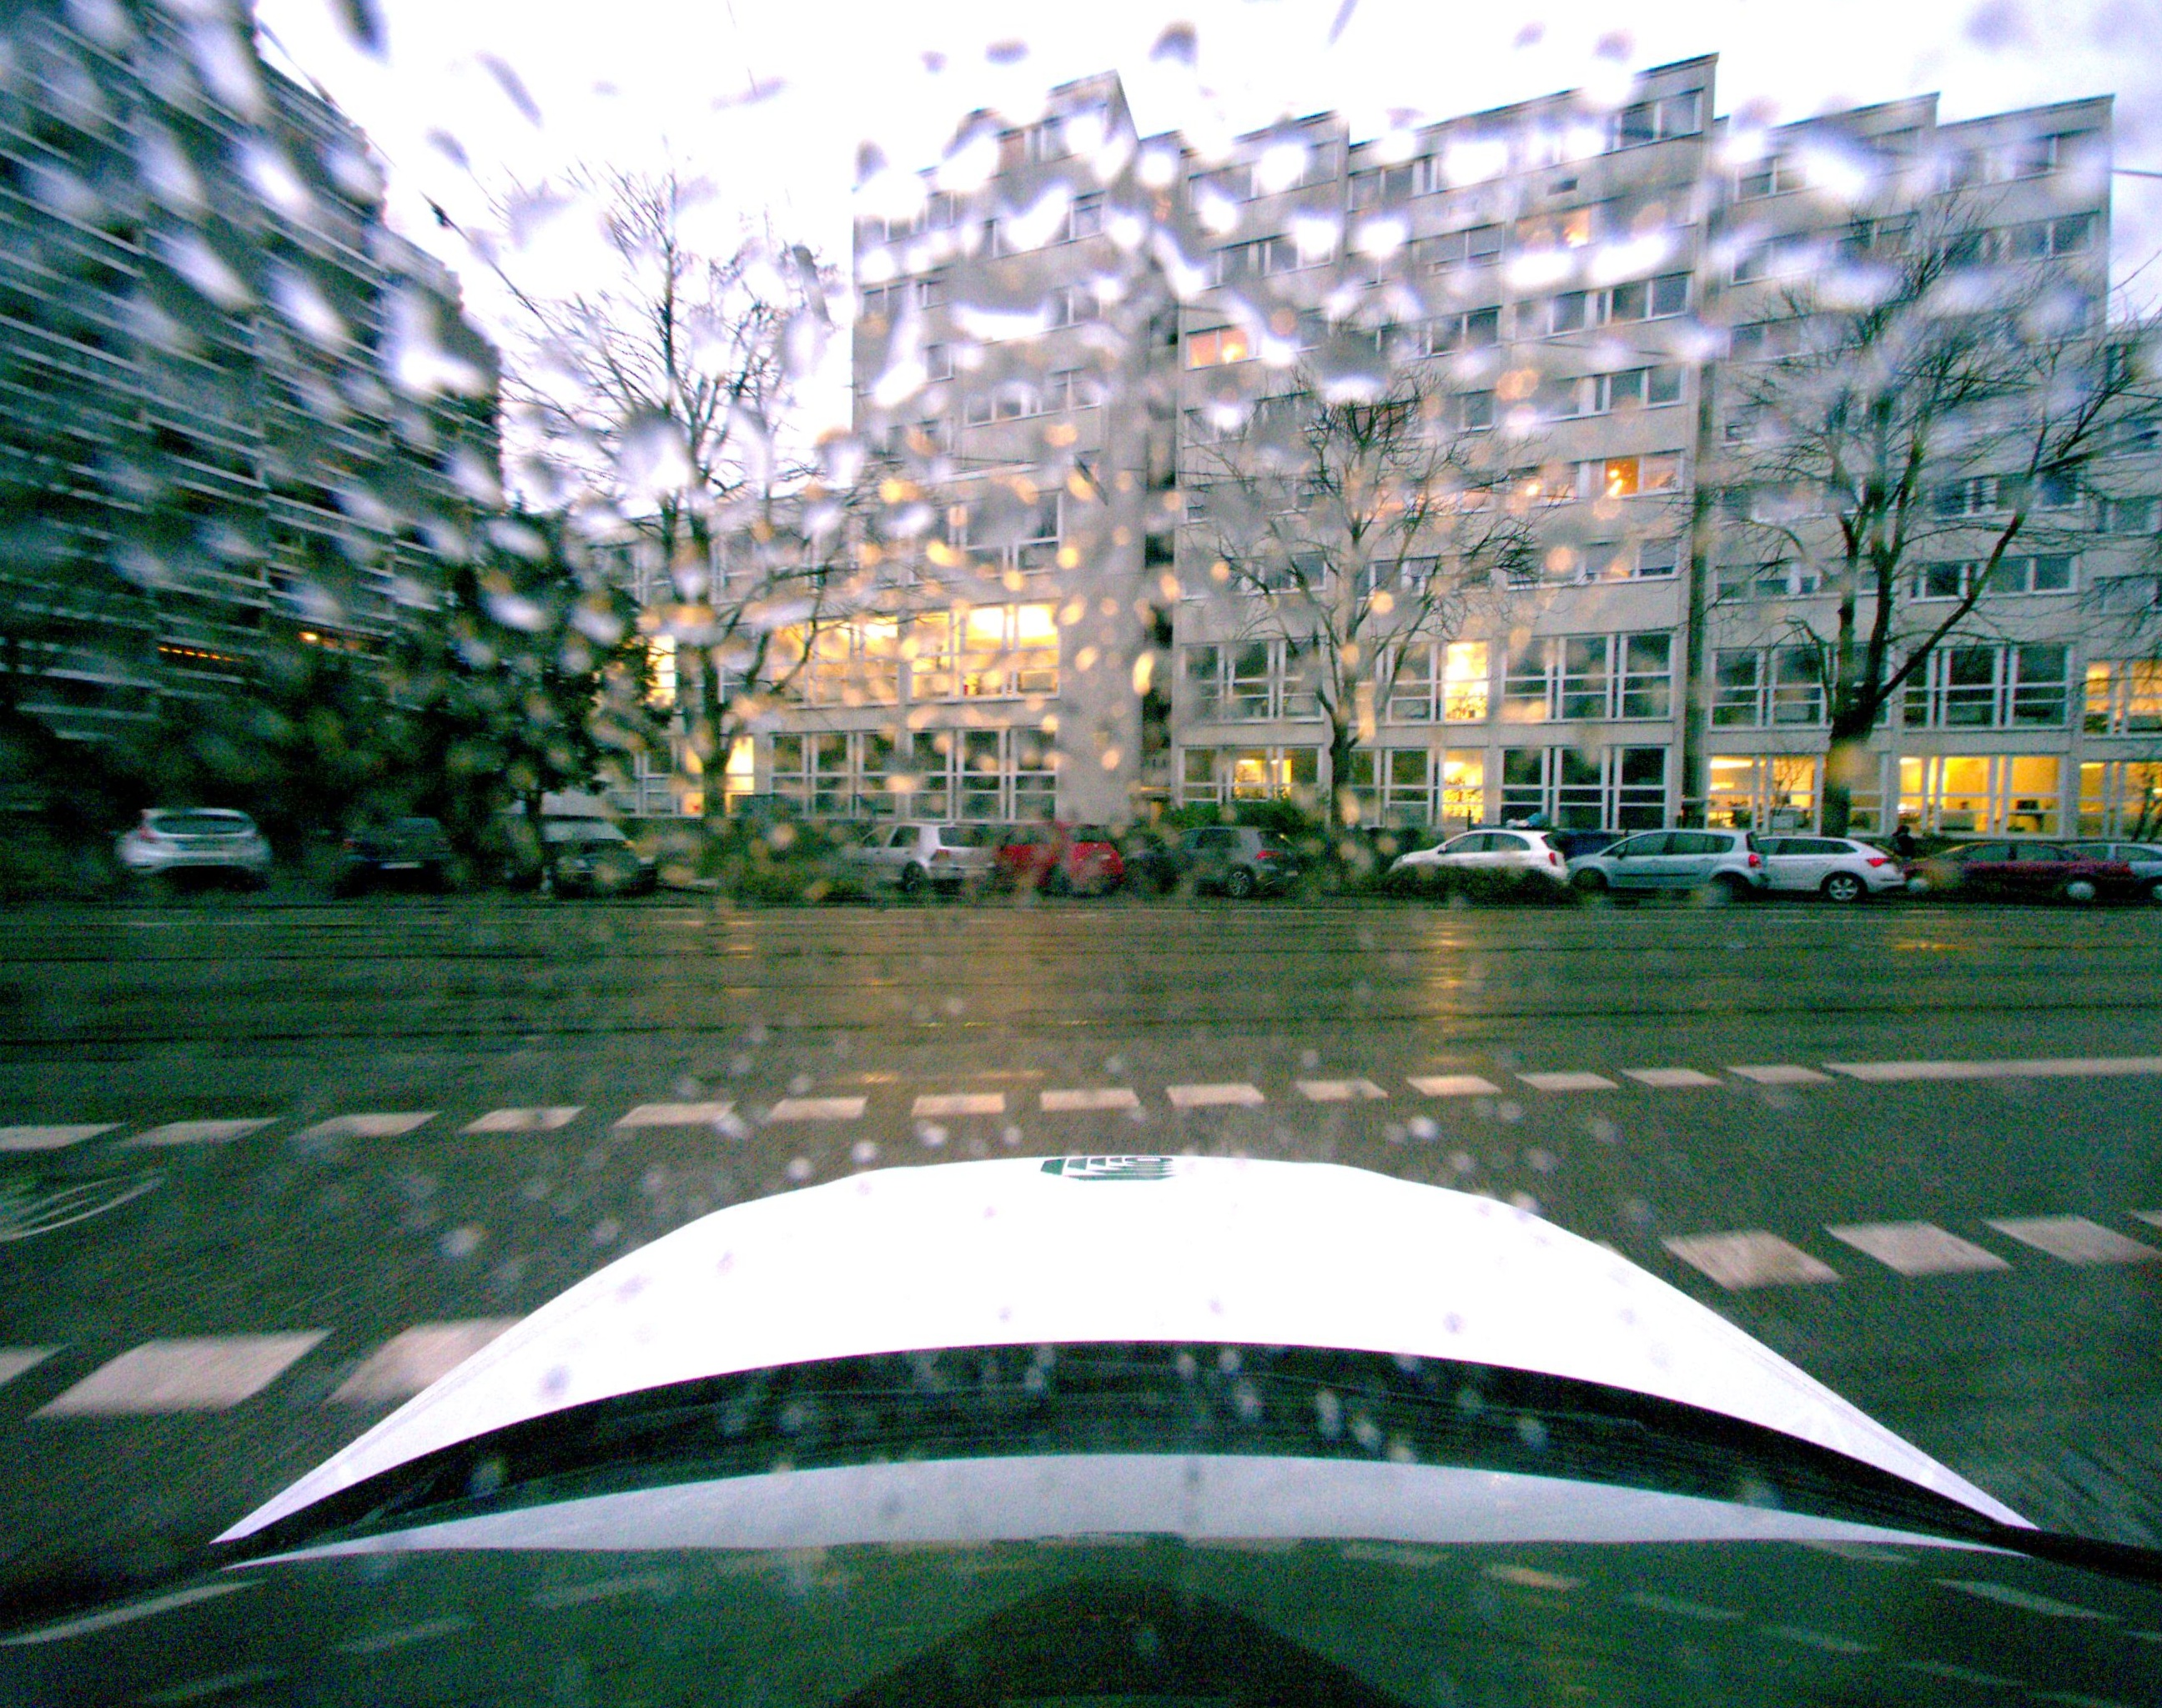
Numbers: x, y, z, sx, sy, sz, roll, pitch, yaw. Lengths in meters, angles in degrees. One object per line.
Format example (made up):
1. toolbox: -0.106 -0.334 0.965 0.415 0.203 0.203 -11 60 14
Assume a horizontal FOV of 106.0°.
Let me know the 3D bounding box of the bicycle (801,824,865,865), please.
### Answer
1. bicycle: -7.047 -0.291 23.308 0.635 1.120 2.215 1 2 16

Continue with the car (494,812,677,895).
1. car: -9.436 -0.075 15.410 3.950 1.378 1.868 2 2 42

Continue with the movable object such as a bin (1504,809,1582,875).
1. movable object such as a bin: 13.629 -0.381 24.090 1.387 1.859 1.572 -1 2 -5

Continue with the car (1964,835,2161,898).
1. car: 25.439 0.280 20.736 1.746 1.463 3.953 0 1 -41

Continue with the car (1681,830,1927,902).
1. car: 16.373 0.204 18.612 1.745 1.443 3.954 0 1 -39

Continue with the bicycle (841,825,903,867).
1. bicycle: -5.859 -0.251 23.003 0.635 1.120 2.215 1 2 16

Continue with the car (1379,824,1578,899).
1. car: 9.082 0.095 18.765 3.827 1.551 1.704 2 2 39

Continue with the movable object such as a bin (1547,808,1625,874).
1. movable object such as a bin: 14.994 -0.405 24.230 1.311 1.859 1.572 -1 2 -5

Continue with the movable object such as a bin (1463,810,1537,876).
1. movable object such as a bin: 12.272 -0.344 23.928 1.311 1.859 1.572 -1 2 -5

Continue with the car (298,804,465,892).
1. car: -13.350 -0.165 15.475 3.950 1.462 1.868 2 2 42

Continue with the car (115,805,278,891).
1. car: -16.576 -0.167 15.277 3.950 1.399 1.868 2 2 42

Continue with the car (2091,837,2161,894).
1. car: 29.064 0.302 20.771 3.803 1.423 1.748 2 2 38

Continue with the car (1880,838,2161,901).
1. car: 22.697 0.304 19.884 4.292 1.352 1.761 1 1 35

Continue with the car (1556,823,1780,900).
1. car: 13.260 0.086 18.516 3.950 1.563 1.748 2 2 42

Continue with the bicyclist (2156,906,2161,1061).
1. bicyclist: 6.325 0.416 4.141 0.845 1.446 0.657 0 2 -4

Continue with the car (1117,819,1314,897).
1. car: 2.813 0.012 17.449 3.804 1.492 1.707 2 2 40

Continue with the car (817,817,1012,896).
1. car: -3.492 -0.014 16.812 3.949 1.446 1.804 2 2 38

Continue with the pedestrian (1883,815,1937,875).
1. pedestrian: 23.803 -0.267 23.399 0.969 1.676 0.597 0 2 -7

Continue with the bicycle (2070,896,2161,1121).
1. bicycle: 6.441 0.791 4.168 2.018 1.096 0.709 0 2 -4

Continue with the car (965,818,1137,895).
1. car: -0.693 -0.016 17.441 3.408 1.492 1.740 2 2 42
